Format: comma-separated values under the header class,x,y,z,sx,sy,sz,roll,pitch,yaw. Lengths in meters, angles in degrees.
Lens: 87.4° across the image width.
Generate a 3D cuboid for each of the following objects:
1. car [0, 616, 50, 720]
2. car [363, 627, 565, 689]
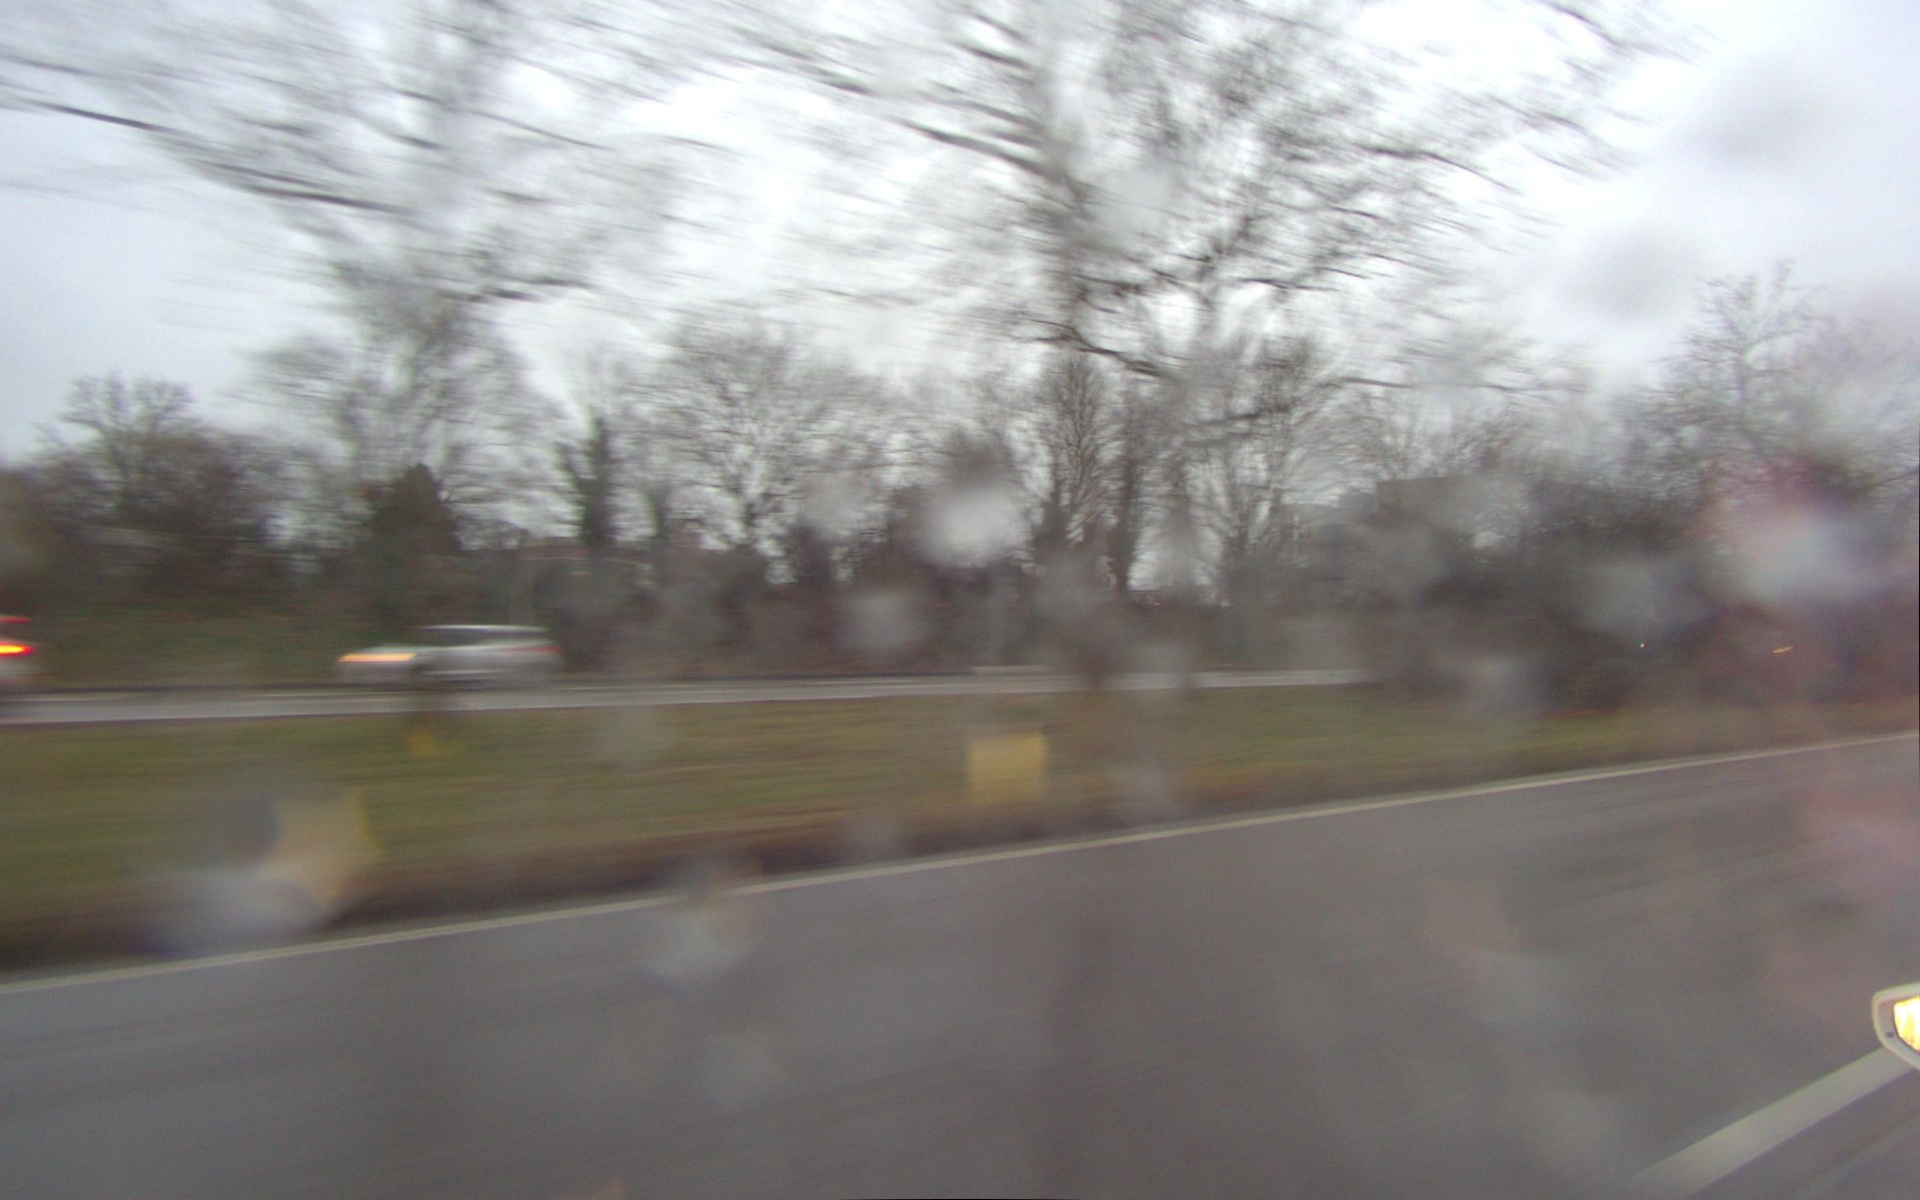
class,x,y,z,sx,sy,sz,roll,pitch,yaw
car,-15.419,0.910,13.826,3.930,1.443,1.741,2,-2,-30
car,-11.423,1.333,23.316,4.053,1.319,1.572,2,-2,-28
